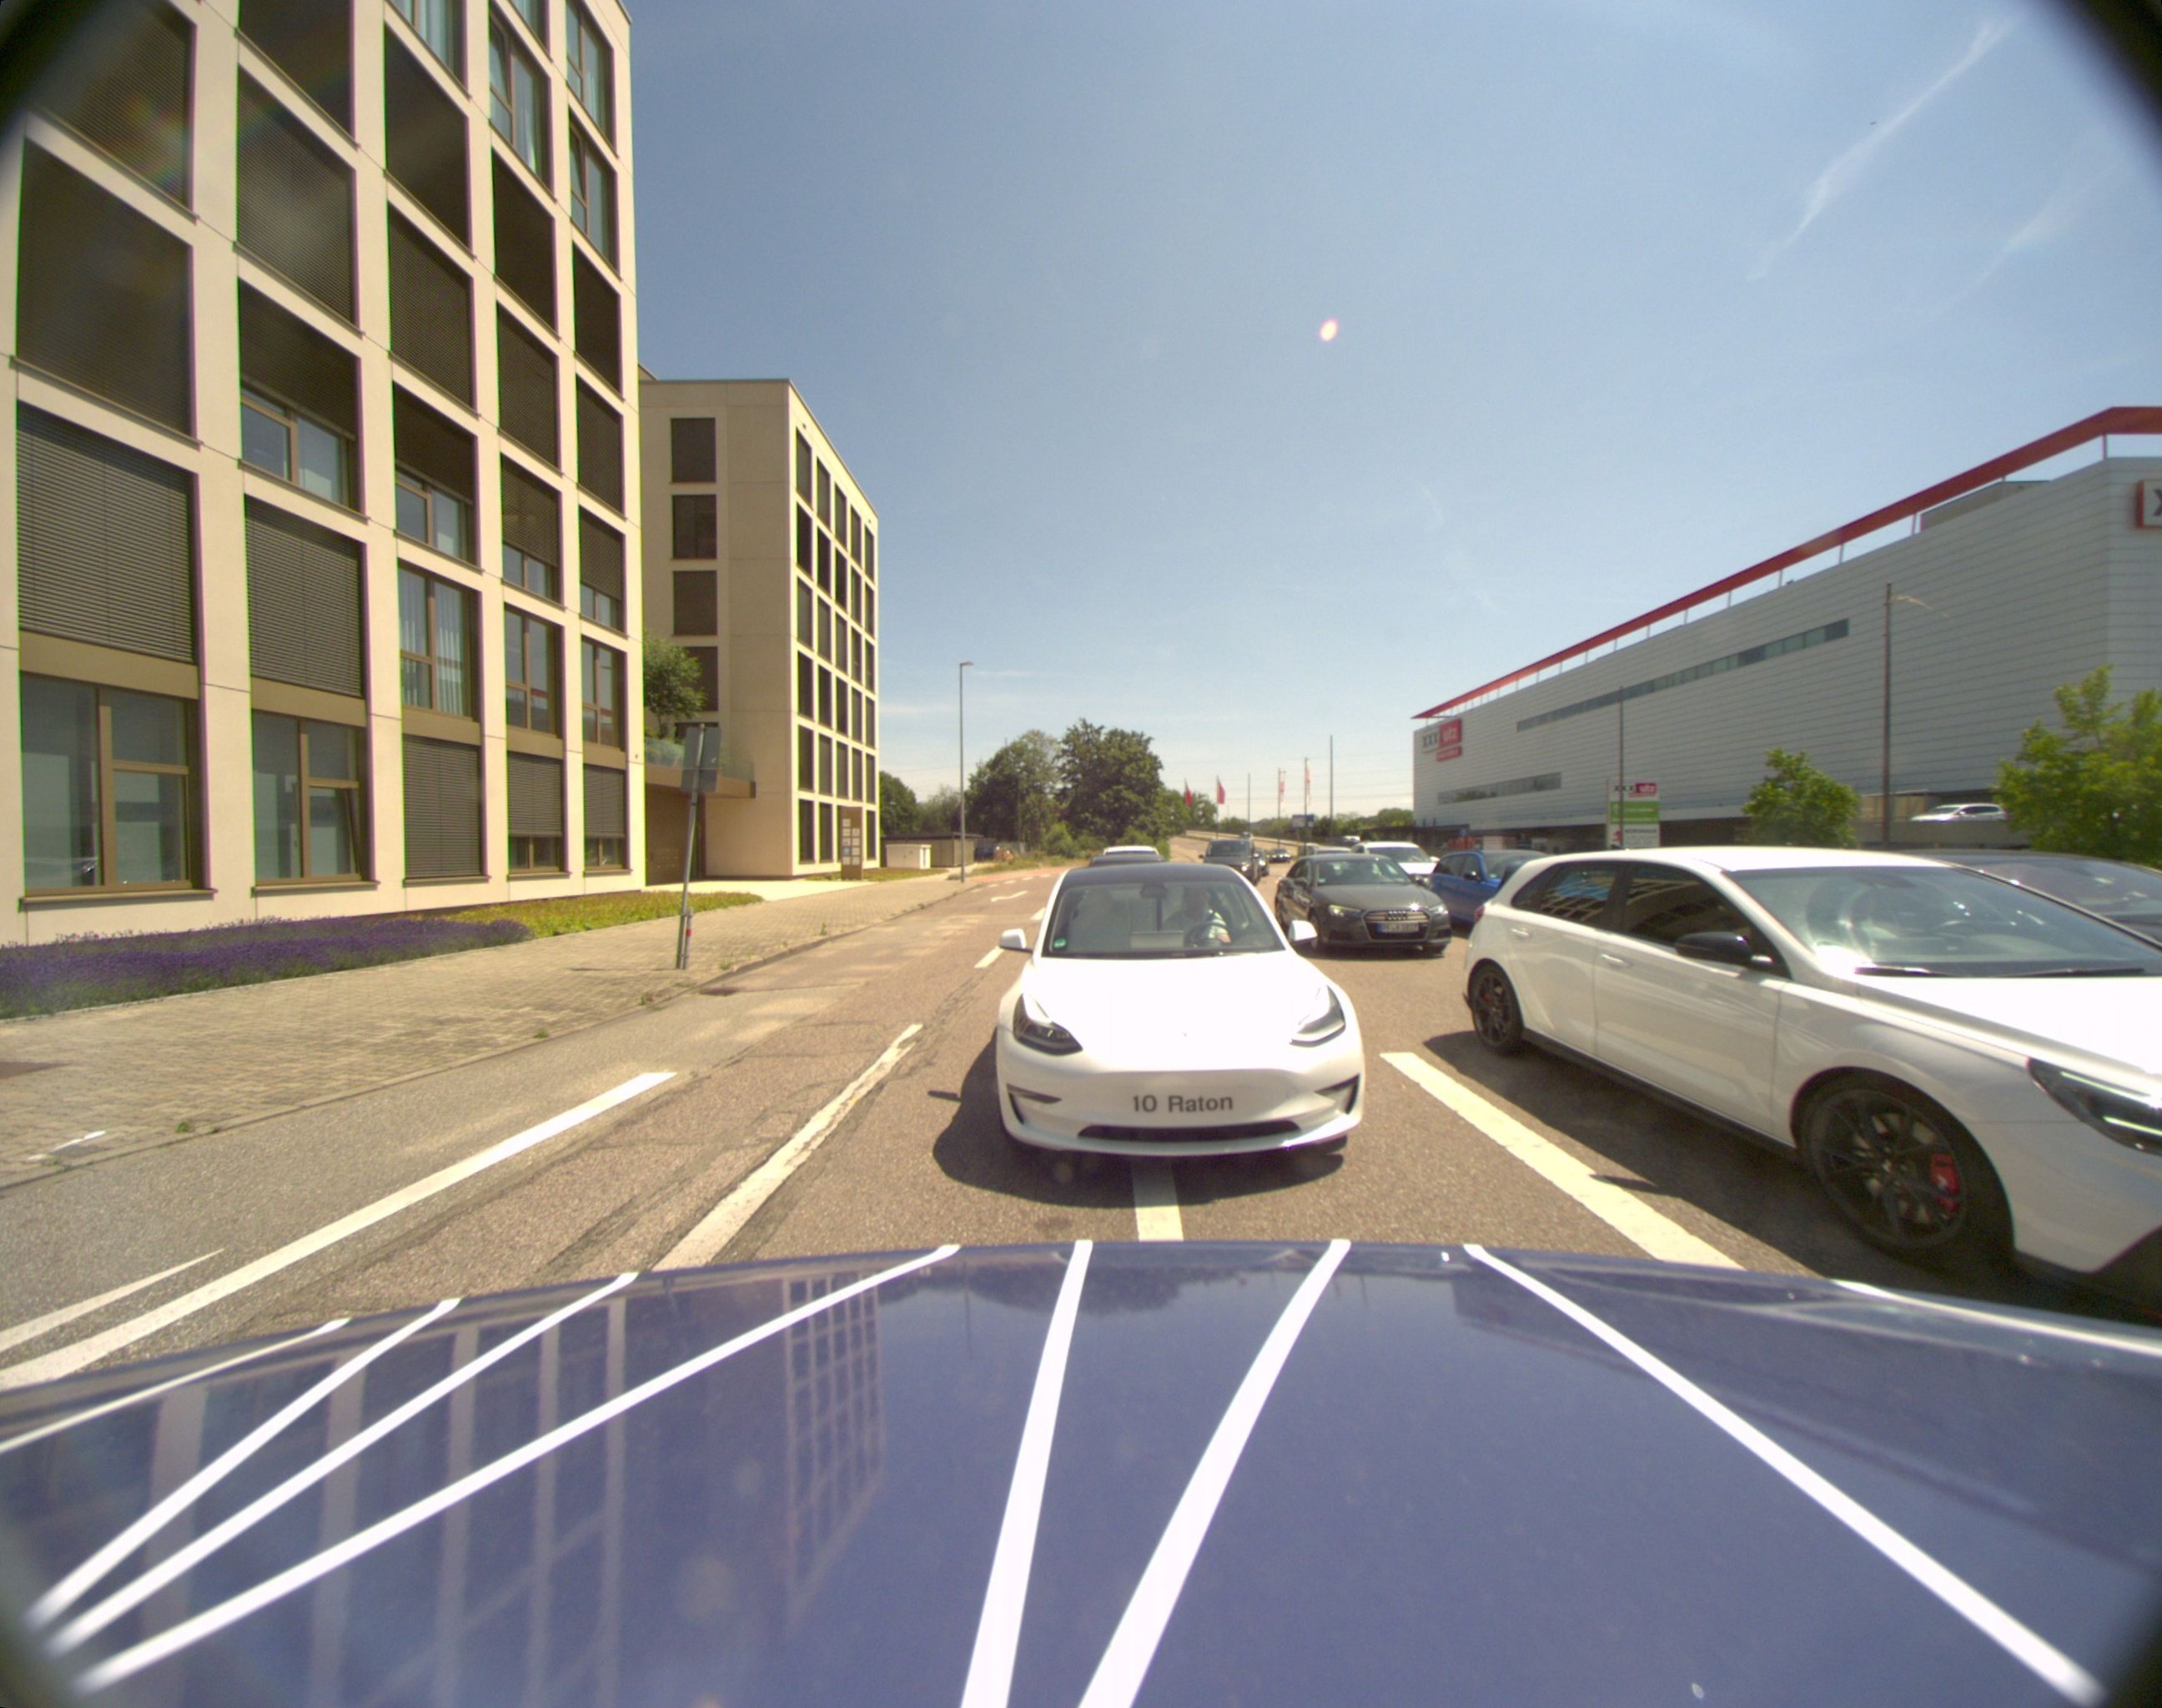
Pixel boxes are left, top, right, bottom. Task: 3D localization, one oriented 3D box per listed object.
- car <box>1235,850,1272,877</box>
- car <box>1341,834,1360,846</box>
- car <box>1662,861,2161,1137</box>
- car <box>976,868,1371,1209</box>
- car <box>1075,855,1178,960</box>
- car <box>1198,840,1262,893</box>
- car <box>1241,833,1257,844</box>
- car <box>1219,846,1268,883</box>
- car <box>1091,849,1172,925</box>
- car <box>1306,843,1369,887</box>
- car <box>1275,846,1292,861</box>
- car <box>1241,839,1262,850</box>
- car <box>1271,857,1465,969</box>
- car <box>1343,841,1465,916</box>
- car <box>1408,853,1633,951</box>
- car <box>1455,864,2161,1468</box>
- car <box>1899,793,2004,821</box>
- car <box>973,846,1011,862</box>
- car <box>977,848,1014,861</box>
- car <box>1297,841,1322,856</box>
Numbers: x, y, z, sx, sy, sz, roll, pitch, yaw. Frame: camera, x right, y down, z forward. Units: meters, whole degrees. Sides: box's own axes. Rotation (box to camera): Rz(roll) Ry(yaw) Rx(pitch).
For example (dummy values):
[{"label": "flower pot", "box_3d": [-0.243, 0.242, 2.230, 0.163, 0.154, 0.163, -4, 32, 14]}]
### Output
[{"label": "car", "box_3d": [9.894, 0.502, 43.433, 1.606, 1.431, 3.738, 0, 1, 19]}, {"label": "car", "box_3d": [51.917, -2.668, 146.371, 2.191, 2.270, 4.814, 0, 1, 4]}, {"label": "car", "box_3d": [6.608, 0.787, 5.358, 1.675, 1.396, 4.467, -2, 0, 2]}, {"label": "car", "box_3d": [0.468, 0.921, 5.744, 1.823, 1.428, 4.284, -2, 1, 1]}, {"label": "car", "box_3d": [0.839, 0.809, 13.381, 1.556, 1.528, 3.822, 0, 1, 5]}, {"label": "car", "box_3d": [5.714, 0.390, 28.634, 1.893, 1.811, 4.842, 0, 1, 17]}, {"label": "car", "box_3d": [29.380, -2.718, 132.666, 1.867, 1.713, 4.043, 0, 0, 0]}, {"label": "car", "box_3d": [7.565, 0.433, 35.197, 1.811, 1.630, 4.005, 0, 1, 18]}, {"label": "car", "box_3d": [1.260, 0.714, 18.657, 1.777, 1.600, 3.821, 0, 1, 5]}, {"label": "car", "box_3d": [9.131, 0.373, 27.260, 1.767, 1.414, 3.903, -2, 0, 14]}, {"label": "car", "box_3d": [21.210, -0.070, 79.523, 1.724, 1.543, 4.004, 0, 1, 15]}, {"label": "car", "box_3d": [23.098, -1.301, 103.140, 1.726, 1.463, 3.998, 0, 1, -3]}, {"label": "car", "box_3d": [4.157, 0.756, 11.732, 1.769, 1.374, 4.091, 0, 1, 5]}, {"label": "car", "box_3d": [7.936, 0.525, 19.116, 1.768, 1.632, 4.494, -2, 1, 9]}, {"label": "car", "box_3d": [7.375, 0.710, 13.339, 1.768, 1.395, 4.433, -2, 0, 7]}, {"label": "car", "box_3d": [3.696, 0.834, 3.665, 1.792, 1.428, 4.070, -2, 1, 1]}, {"label": "car", "box_3d": [51.491, -2.755, 44.996, 3.995, 1.499, 1.718, 0, 1, 5]}, {"label": "car", "box_3d": [-9.290, -0.003, 79.162, 3.834, 1.543, 1.736, 0, 1, -13]}, {"label": "car", "box_3d": [-9.157, 0.042, 81.198, 3.834, 1.386, 1.736, 0, 1, -13]}, {"label": "car", "box_3d": [28.048, -0.721, 93.534, 1.866, 1.713, 4.042, -2, 1, 1]}]
